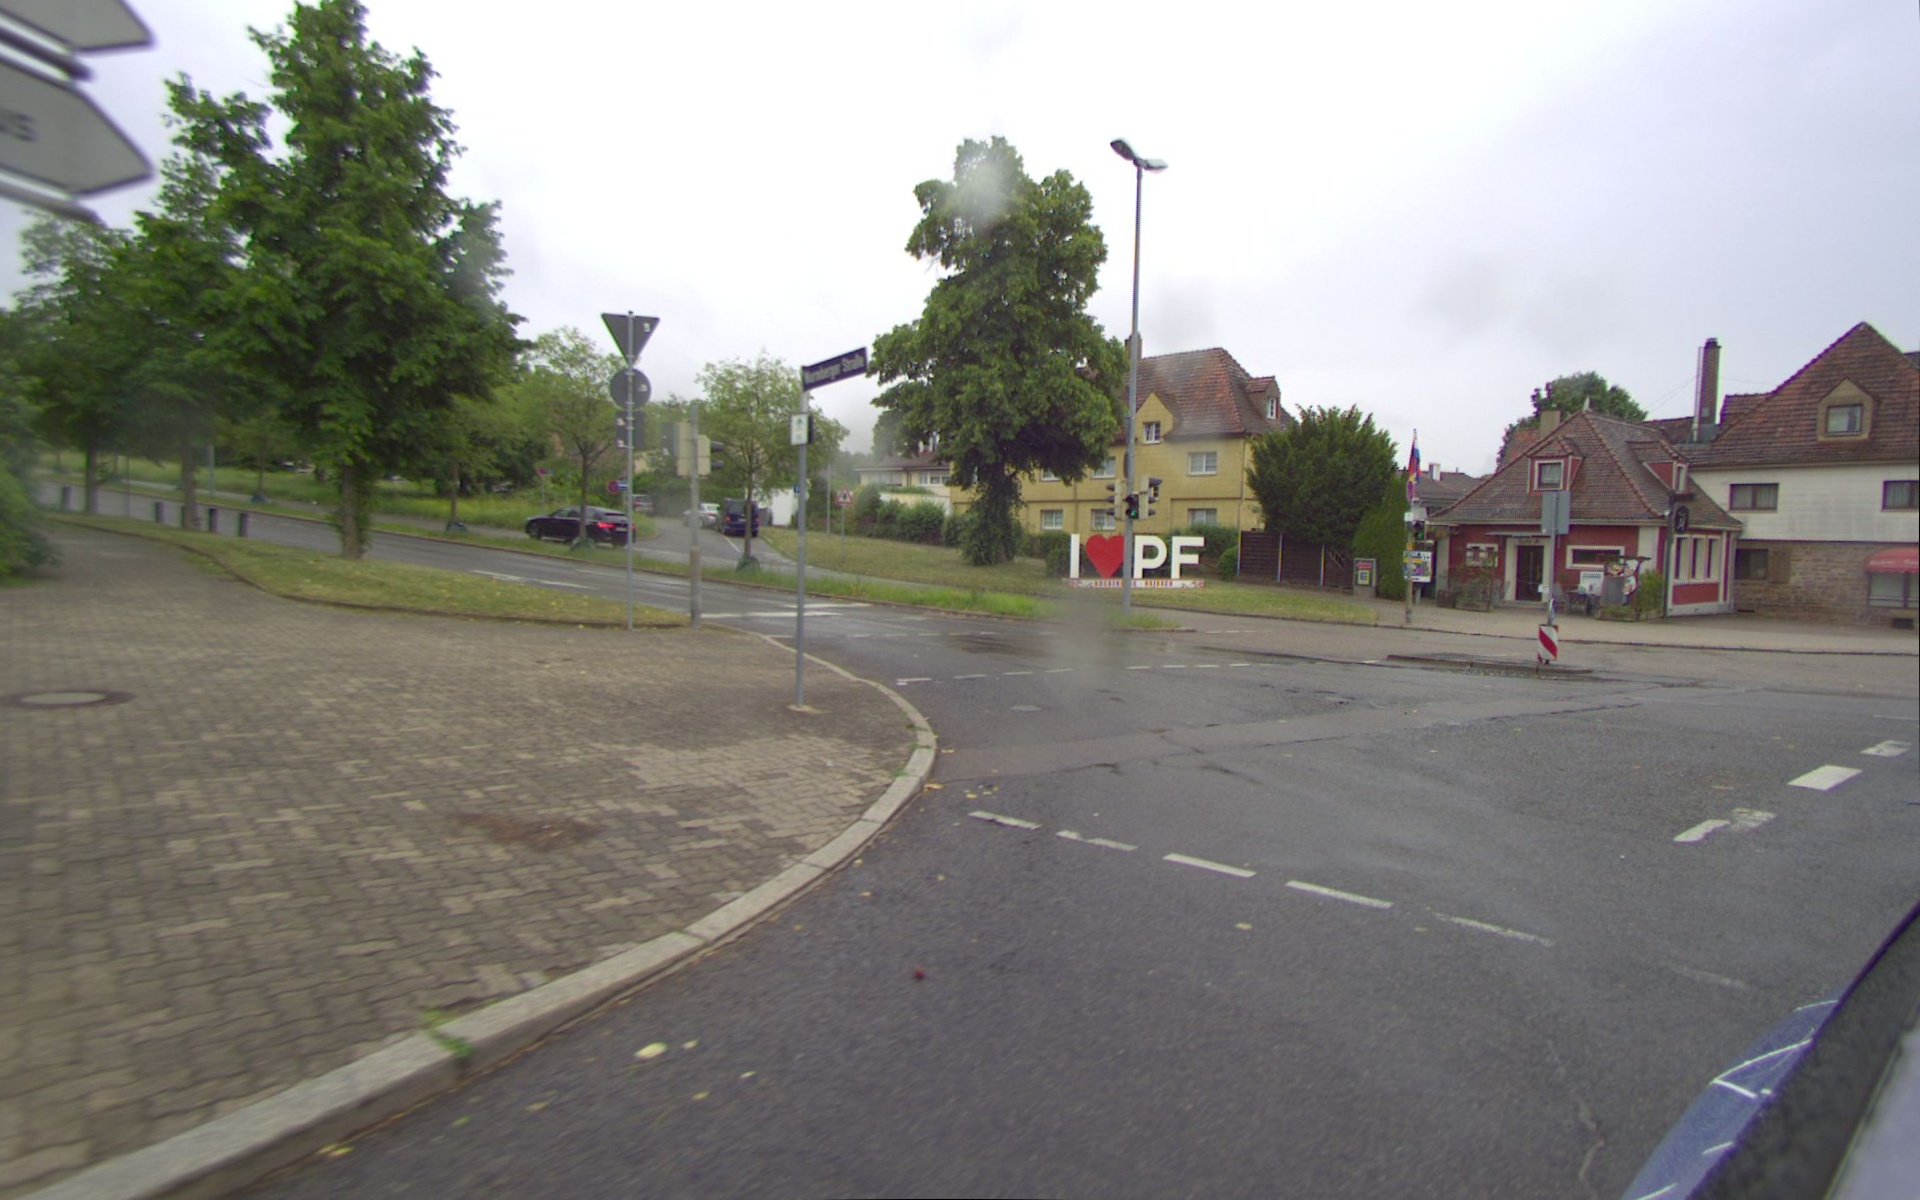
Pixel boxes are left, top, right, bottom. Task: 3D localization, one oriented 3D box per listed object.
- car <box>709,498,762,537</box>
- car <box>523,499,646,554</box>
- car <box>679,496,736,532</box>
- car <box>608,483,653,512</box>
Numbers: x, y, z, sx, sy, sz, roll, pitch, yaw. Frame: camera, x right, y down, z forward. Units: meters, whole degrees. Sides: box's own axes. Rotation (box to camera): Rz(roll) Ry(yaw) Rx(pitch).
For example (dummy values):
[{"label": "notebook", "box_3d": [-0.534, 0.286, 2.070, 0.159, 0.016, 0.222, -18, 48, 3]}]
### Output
[{"label": "car", "box_3d": [-12.369, -4.510, 55.548, 1.958, 1.960, 4.284, 1, 3, -25]}, {"label": "car", "box_3d": [-14.616, -2.861, 39.302, 4.546, 1.878, 1.980, 4, 3, 29]}, {"label": "car", "box_3d": [-15.195, -5.150, 60.777, 1.961, 1.960, 4.277, 1, 4, -34]}, {"label": "car", "box_3d": [-24.047, -7.433, 73.693, 1.961, 1.960, 4.277, 1, 4, -34]}]
